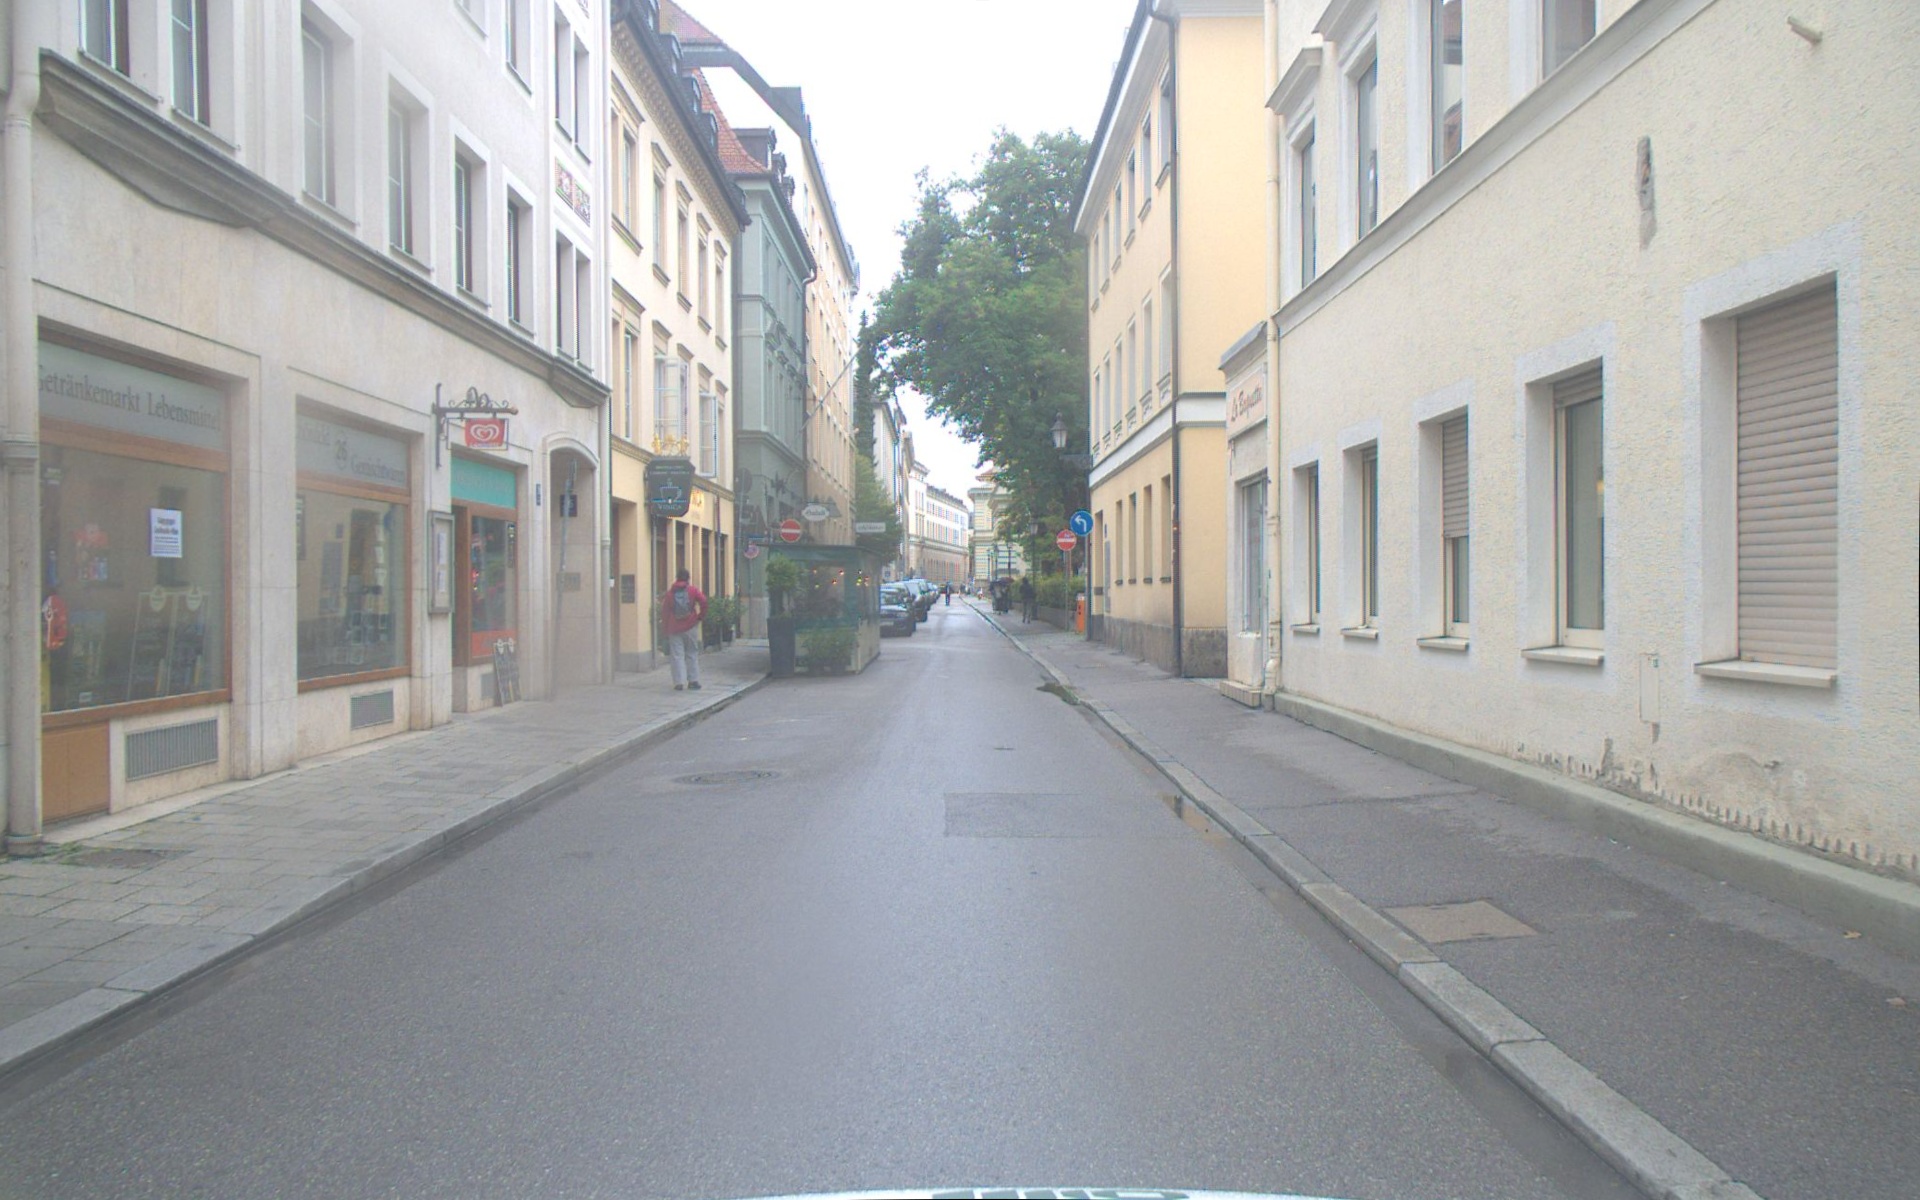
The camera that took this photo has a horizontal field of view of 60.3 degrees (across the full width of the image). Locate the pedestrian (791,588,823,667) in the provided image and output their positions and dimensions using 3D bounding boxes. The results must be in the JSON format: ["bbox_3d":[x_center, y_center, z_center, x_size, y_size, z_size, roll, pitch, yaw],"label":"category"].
[{"bbox_3d":[-2.655,0.462,28.706,0.499,1.350,0.630,0,0,-2],"label":"pedestrian"}]

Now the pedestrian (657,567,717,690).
[{"bbox_3d":[-3.947,0.398,23.961,0.750,1.738,0.785,-1,0,-3],"label":"pedestrian"}]

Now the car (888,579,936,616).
[{"bbox_3d":[-2.010,-0.132,69.854,1.742,1.492,3.543,0,1,2],"label":"car"}]

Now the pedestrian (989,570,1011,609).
[{"bbox_3d":[1.895,-0.503,78.808,0.995,1.833,1.349,0,1,0],"label":"pedestrian"}]

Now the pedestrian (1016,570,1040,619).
[{"bbox_3d":[2.540,-0.203,62.149,0.862,1.833,1.046,0,0,0],"label":"pedestrian"}]

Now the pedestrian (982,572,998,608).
[{"bbox_3d":[1.516,-0.509,84.146,0.777,1.833,0.903,0,0,0],"label":"pedestrian"}]

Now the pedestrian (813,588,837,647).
[{"bbox_3d":[-2.938,0.378,36.017,0.499,1.259,0.630,0,0,-2],"label":"pedestrian"}]

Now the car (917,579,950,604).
[{"bbox_3d":[-1.576,-0.518,99.585,1.742,1.492,3.543,0,1,2],"label":"car"}]

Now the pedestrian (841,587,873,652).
[{"bbox_3d":[-2.169,0.397,34.857,0.660,1.350,0.696,0,0,-2],"label":"pedestrian"}]

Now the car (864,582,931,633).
[{"bbox_3d":[-1.850,0.199,50.265,1.742,1.492,3.664,0,1,2],"label":"car"}]

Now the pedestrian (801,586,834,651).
[{"bbox_3d":[-3.009,0.389,34.965,0.660,1.350,0.696,0,0,-2],"label":"pedestrian"}]

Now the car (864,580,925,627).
[{"bbox_3d":[-2.150,0.083,54.897,1.742,1.492,3.543,0,1,2],"label":"car"}]

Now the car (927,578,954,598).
[{"bbox_3d":[-1.414,-0.886,121.374,1.742,1.492,3.543,0,1,2],"label":"car"}]

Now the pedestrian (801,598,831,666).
[{"bbox_3d":[-2.589,0.571,29.703,0.499,1.208,0.630,0,0,-2],"label":"pedestrian"}]
